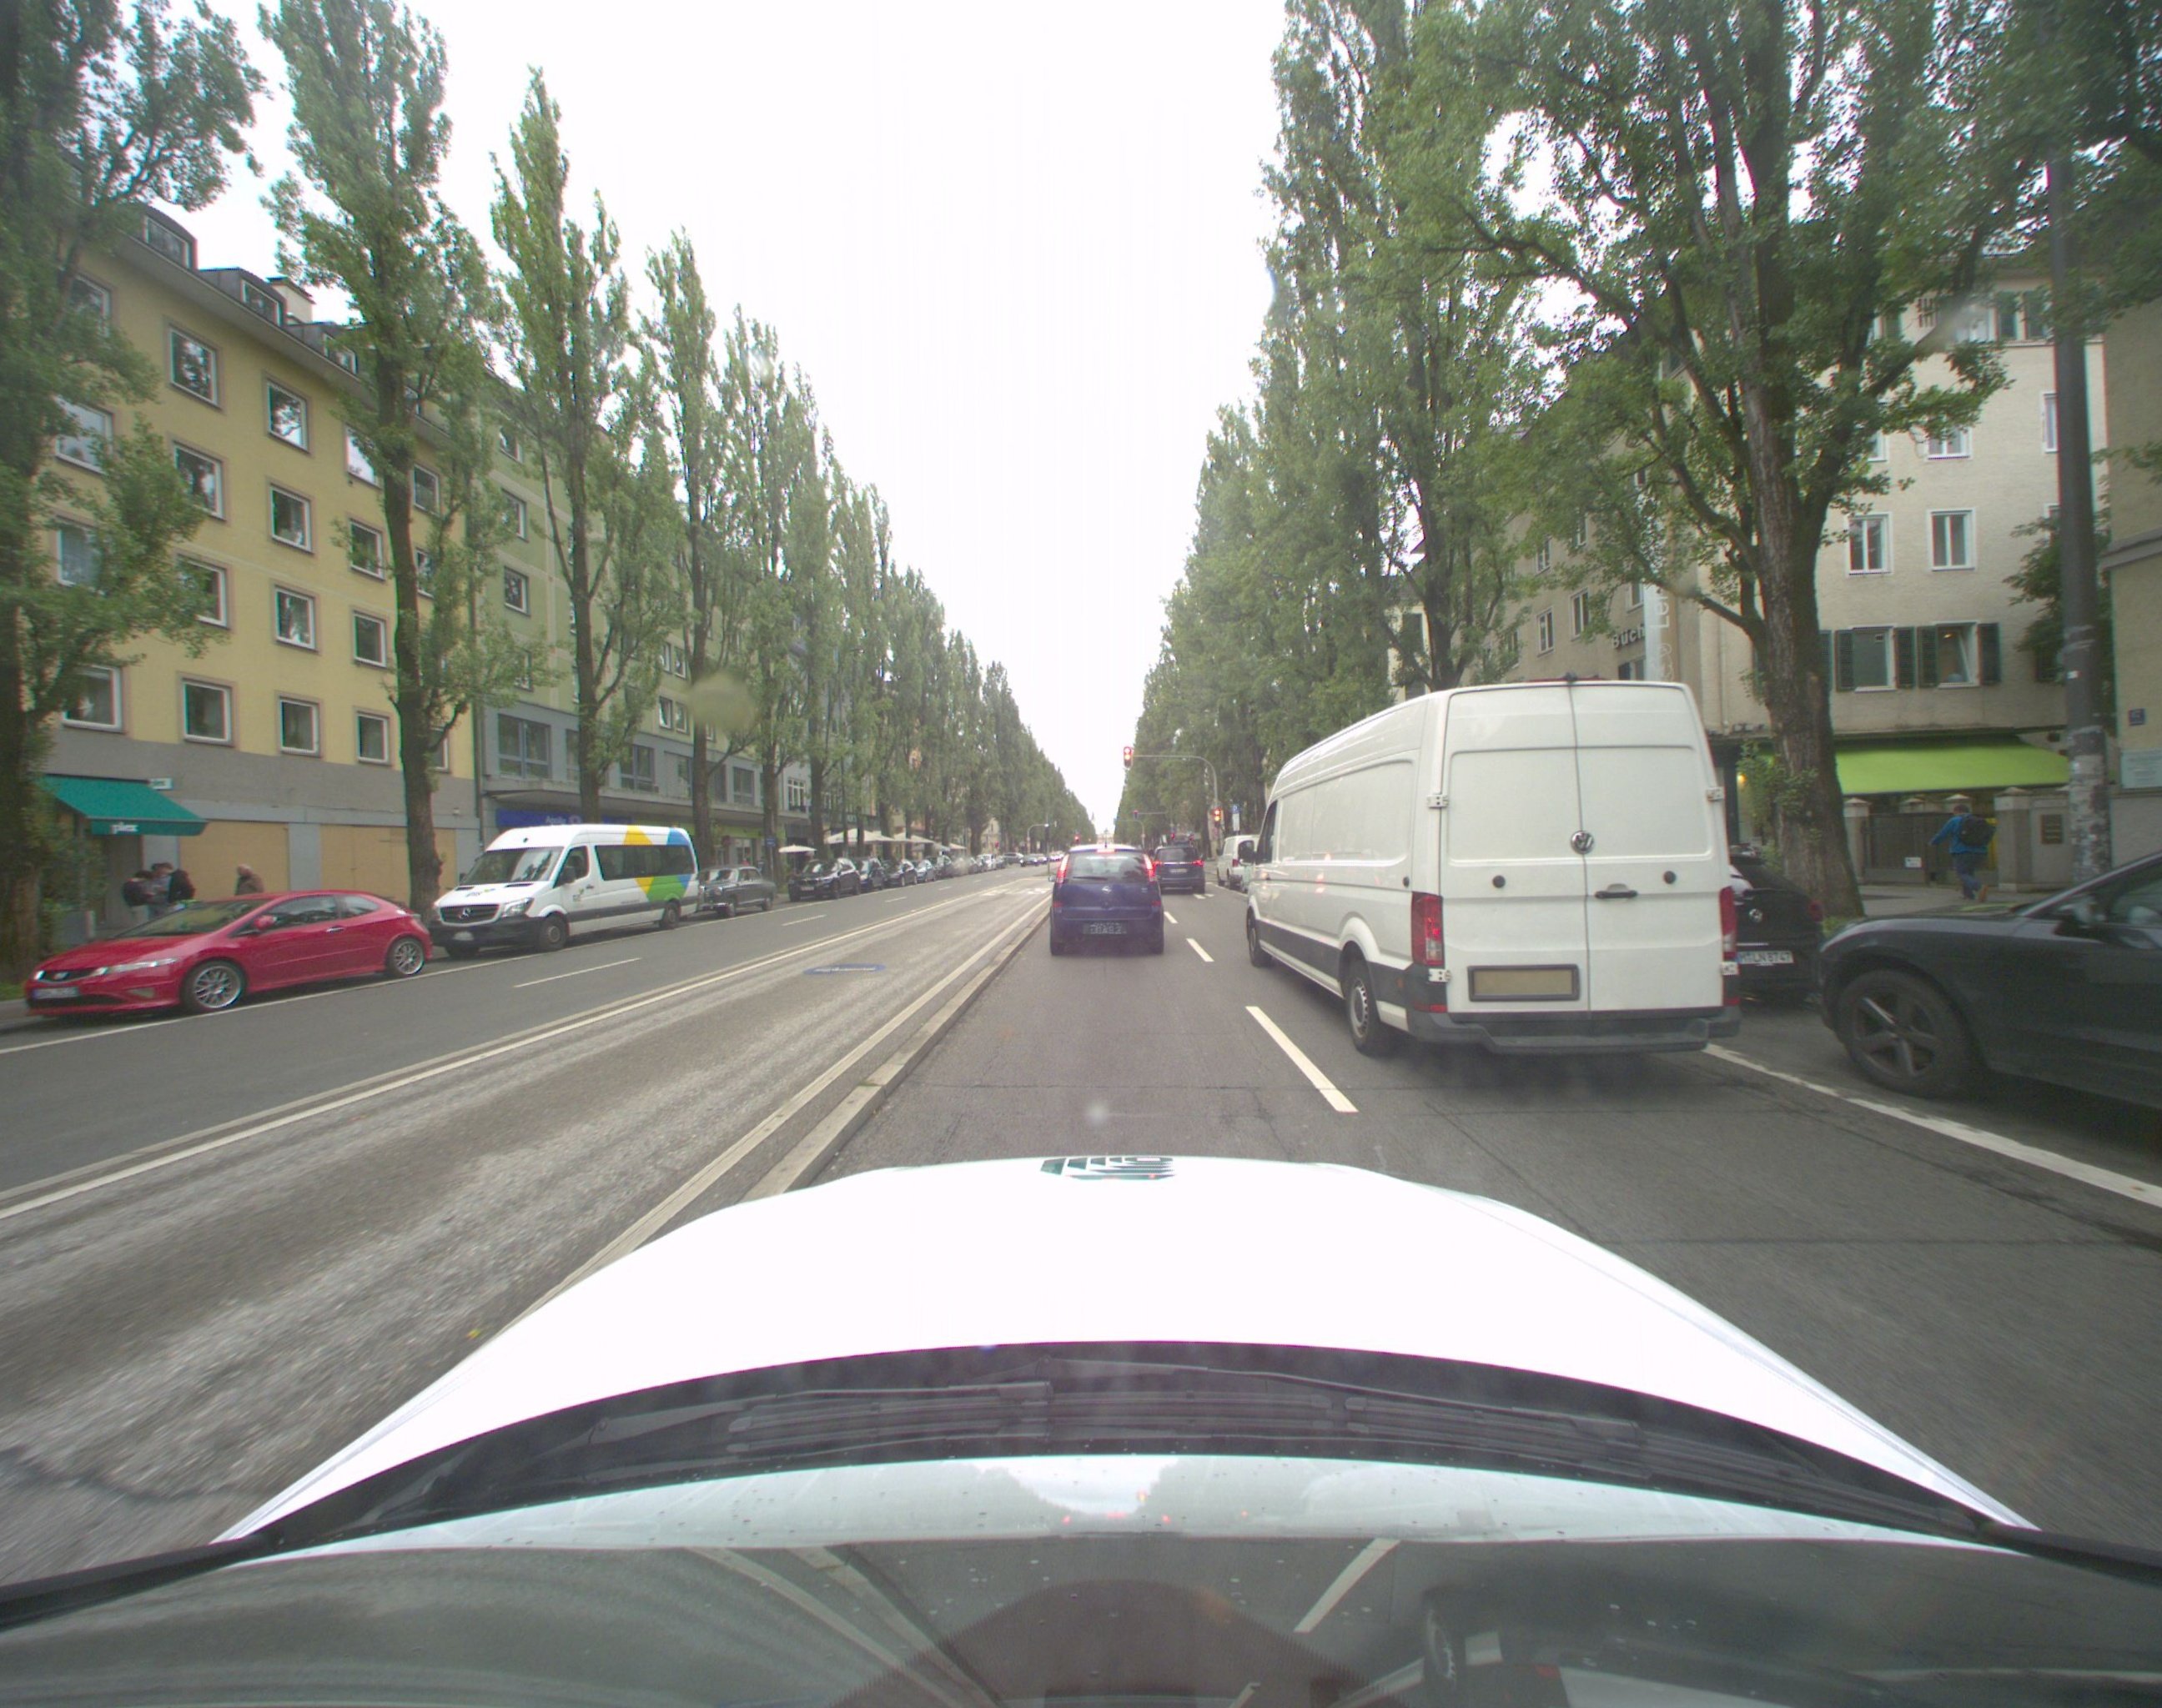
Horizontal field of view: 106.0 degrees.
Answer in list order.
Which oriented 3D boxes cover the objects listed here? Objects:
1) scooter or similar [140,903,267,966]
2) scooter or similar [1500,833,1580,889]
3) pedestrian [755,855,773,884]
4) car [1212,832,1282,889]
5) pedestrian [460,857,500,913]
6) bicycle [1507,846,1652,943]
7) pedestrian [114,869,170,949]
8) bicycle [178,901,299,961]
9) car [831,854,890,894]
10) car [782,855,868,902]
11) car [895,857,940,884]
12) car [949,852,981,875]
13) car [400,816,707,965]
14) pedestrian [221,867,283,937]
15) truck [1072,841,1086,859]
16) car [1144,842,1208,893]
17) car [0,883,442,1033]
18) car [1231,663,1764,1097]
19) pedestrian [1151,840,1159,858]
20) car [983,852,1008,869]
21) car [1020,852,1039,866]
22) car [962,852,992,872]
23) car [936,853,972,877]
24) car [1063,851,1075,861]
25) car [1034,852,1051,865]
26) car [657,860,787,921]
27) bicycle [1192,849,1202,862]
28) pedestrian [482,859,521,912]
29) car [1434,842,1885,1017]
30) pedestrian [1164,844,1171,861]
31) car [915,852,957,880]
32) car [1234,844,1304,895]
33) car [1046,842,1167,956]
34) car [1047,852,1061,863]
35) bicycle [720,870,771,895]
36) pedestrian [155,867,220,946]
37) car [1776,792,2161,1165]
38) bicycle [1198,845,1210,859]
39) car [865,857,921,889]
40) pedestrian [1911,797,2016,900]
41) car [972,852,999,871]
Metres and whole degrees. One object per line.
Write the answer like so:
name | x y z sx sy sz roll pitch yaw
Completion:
scooter or similar | -15.900 1.448 14.776 1.768 1.026 0.421 -3 0 -2
scooter or similar | 12.381 0.157 22.050 0.634 1.376 2.493 -3 1 -2
pedestrian | -18.555 0.893 47.672 0.753 1.686 0.675 -3 -1 2
car | 6.188 0.201 30.819 1.781 1.946 4.732 -2 0 2
pedestrian | -19.847 1.006 26.902 0.694 1.795 0.728 -2 0 6
bicycle | 7.688 0.563 12.732 0.769 1.349 2.450 -2 0 1
pedestrian | -19.880 1.159 17.248 0.691 1.636 0.567 -2 0 26
bicycle | -15.934 1.451 15.414 1.768 1.026 0.421 -3 0 -2
car | -10.478 0.906 38.985 1.704 1.721 3.920 -4 0 -1
car | -10.488 0.952 33.703 1.859 1.664 4.613 -4 0 2
car | -9.949 0.990 49.960 1.727 1.425 4.145 -4 0 2
car | -9.484 0.733 66.772 1.859 1.665 4.122 -4 0 2
car | -11.122 0.639 18.170 1.998 2.567 6.915 -4 0 2
pedestrian | -20.341 1.170 19.992 0.694 1.636 0.728 -2 0 4
truck | -0.443 -0.796 161.114 2.374 3.346 7.114 -2 0 2
car | 3.247 0.434 28.562 1.889 1.622 4.002 -1 0 2
car | -11.386 1.248 11.218 1.731 1.419 4.150 -4 0 2
car | 3.047 0.132 8.120 2.055 2.492 6.734 -1 0 2
pedestrian | 7.668 -0.539 84.446 0.719 1.827 0.885 0 0 -8
car | -8.874 0.640 84.834 1.859 1.665 4.122 -4 0 2
car | -5.869 0.560 93.274 1.691 1.462 4.715 -4 0 2
car | -9.206 0.683 72.296 1.859 1.665 4.122 -4 0 2
car | -9.637 0.788 61.944 1.859 1.665 4.122 -4 0 2
car | -1.989 0.341 132.036 1.728 1.465 3.367 -2 0 2
car | -4.854 0.564 103.508 1.739 1.434 4.131 -4 0 2
car | -10.970 1.061 25.271 1.859 1.552 4.416 -4 0 2
bicycle | 12.442 0.192 87.653 0.769 1.349 2.450 -2 0 1
pedestrian | -19.060 1.031 26.798 0.694 1.700 0.728 -2 0 6
car | 5.712 0.606 8.865 1.705 1.393 4.340 -1 0 -2
pedestrian | 9.449 -0.176 89.040 0.636 1.827 0.885 0 0 -8
car | -9.837 0.768 55.588 1.859 1.665 4.402 -4 0 2
car | 5.920 0.460 25.930 1.535 1.492 3.525 -1 0 2
car | 0.425 0.615 13.405 1.665 1.568 4.002 -1 0 2
car | -4.256 0.582 127.376 1.859 1.665 4.122 -2 0 2
bicycle | -15.032 1.277 36.528 1.943 1.095 0.718 0 0 -5
pedestrian | -19.403 1.126 17.695 0.691 1.636 0.731 -2 0 26
car | 5.629 0.533 3.333 1.797 1.637 4.447 -1 0 0
bicycle | 12.298 -0.166 81.531 0.769 1.349 2.450 -2 0 1
car | -10.162 0.987 44.297 1.792 1.488 4.352 -4 0 2
pedestrian | 14.990 -0.094 13.863 0.795 1.677 0.877 -2 0 1
car | -9.107 0.674 77.558 1.859 1.665 4.122 -4 0 2
